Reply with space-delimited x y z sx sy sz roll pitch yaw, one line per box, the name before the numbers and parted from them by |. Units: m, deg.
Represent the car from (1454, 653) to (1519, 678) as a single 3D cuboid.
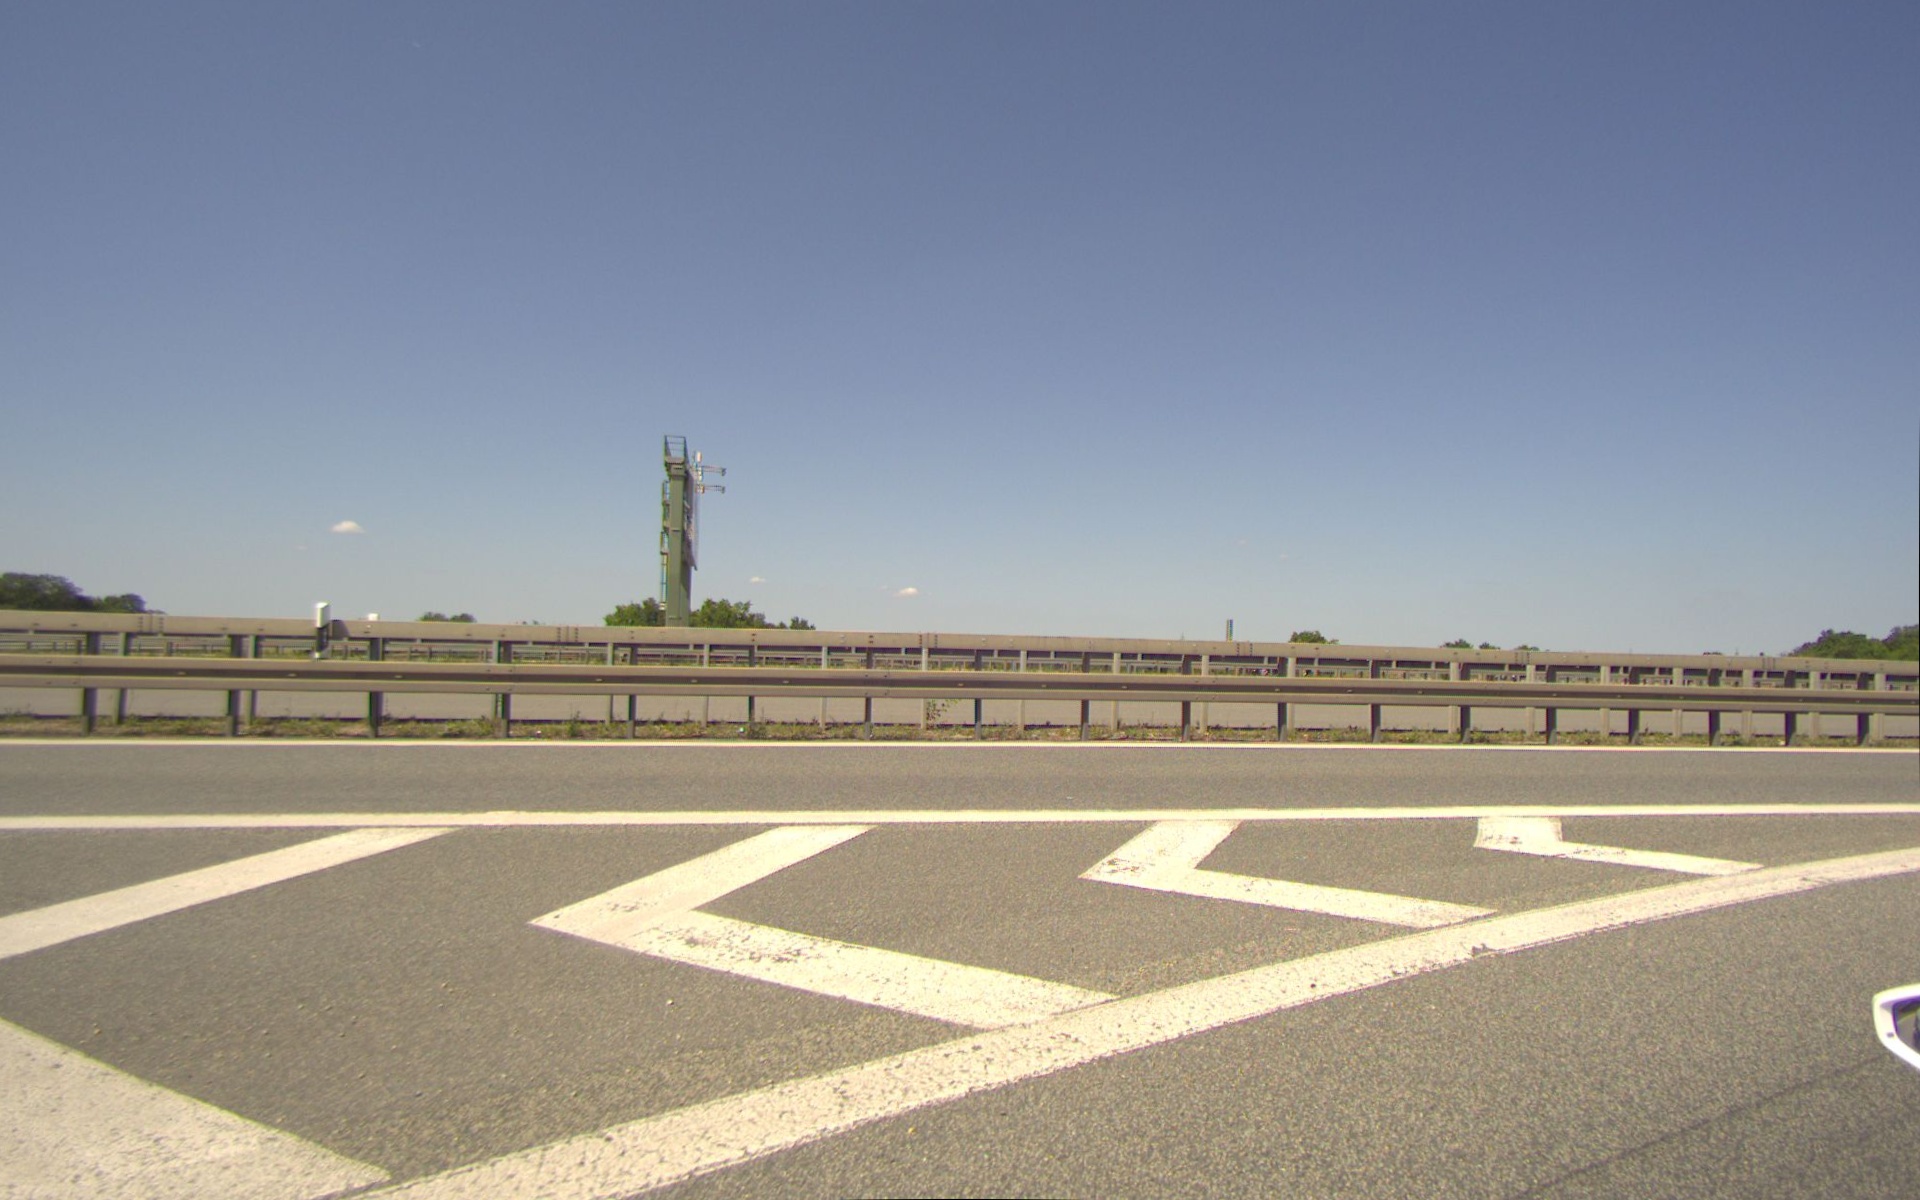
car | 34.433 4.255 65.703 3.554 1.374 1.625 4 -3 -12
